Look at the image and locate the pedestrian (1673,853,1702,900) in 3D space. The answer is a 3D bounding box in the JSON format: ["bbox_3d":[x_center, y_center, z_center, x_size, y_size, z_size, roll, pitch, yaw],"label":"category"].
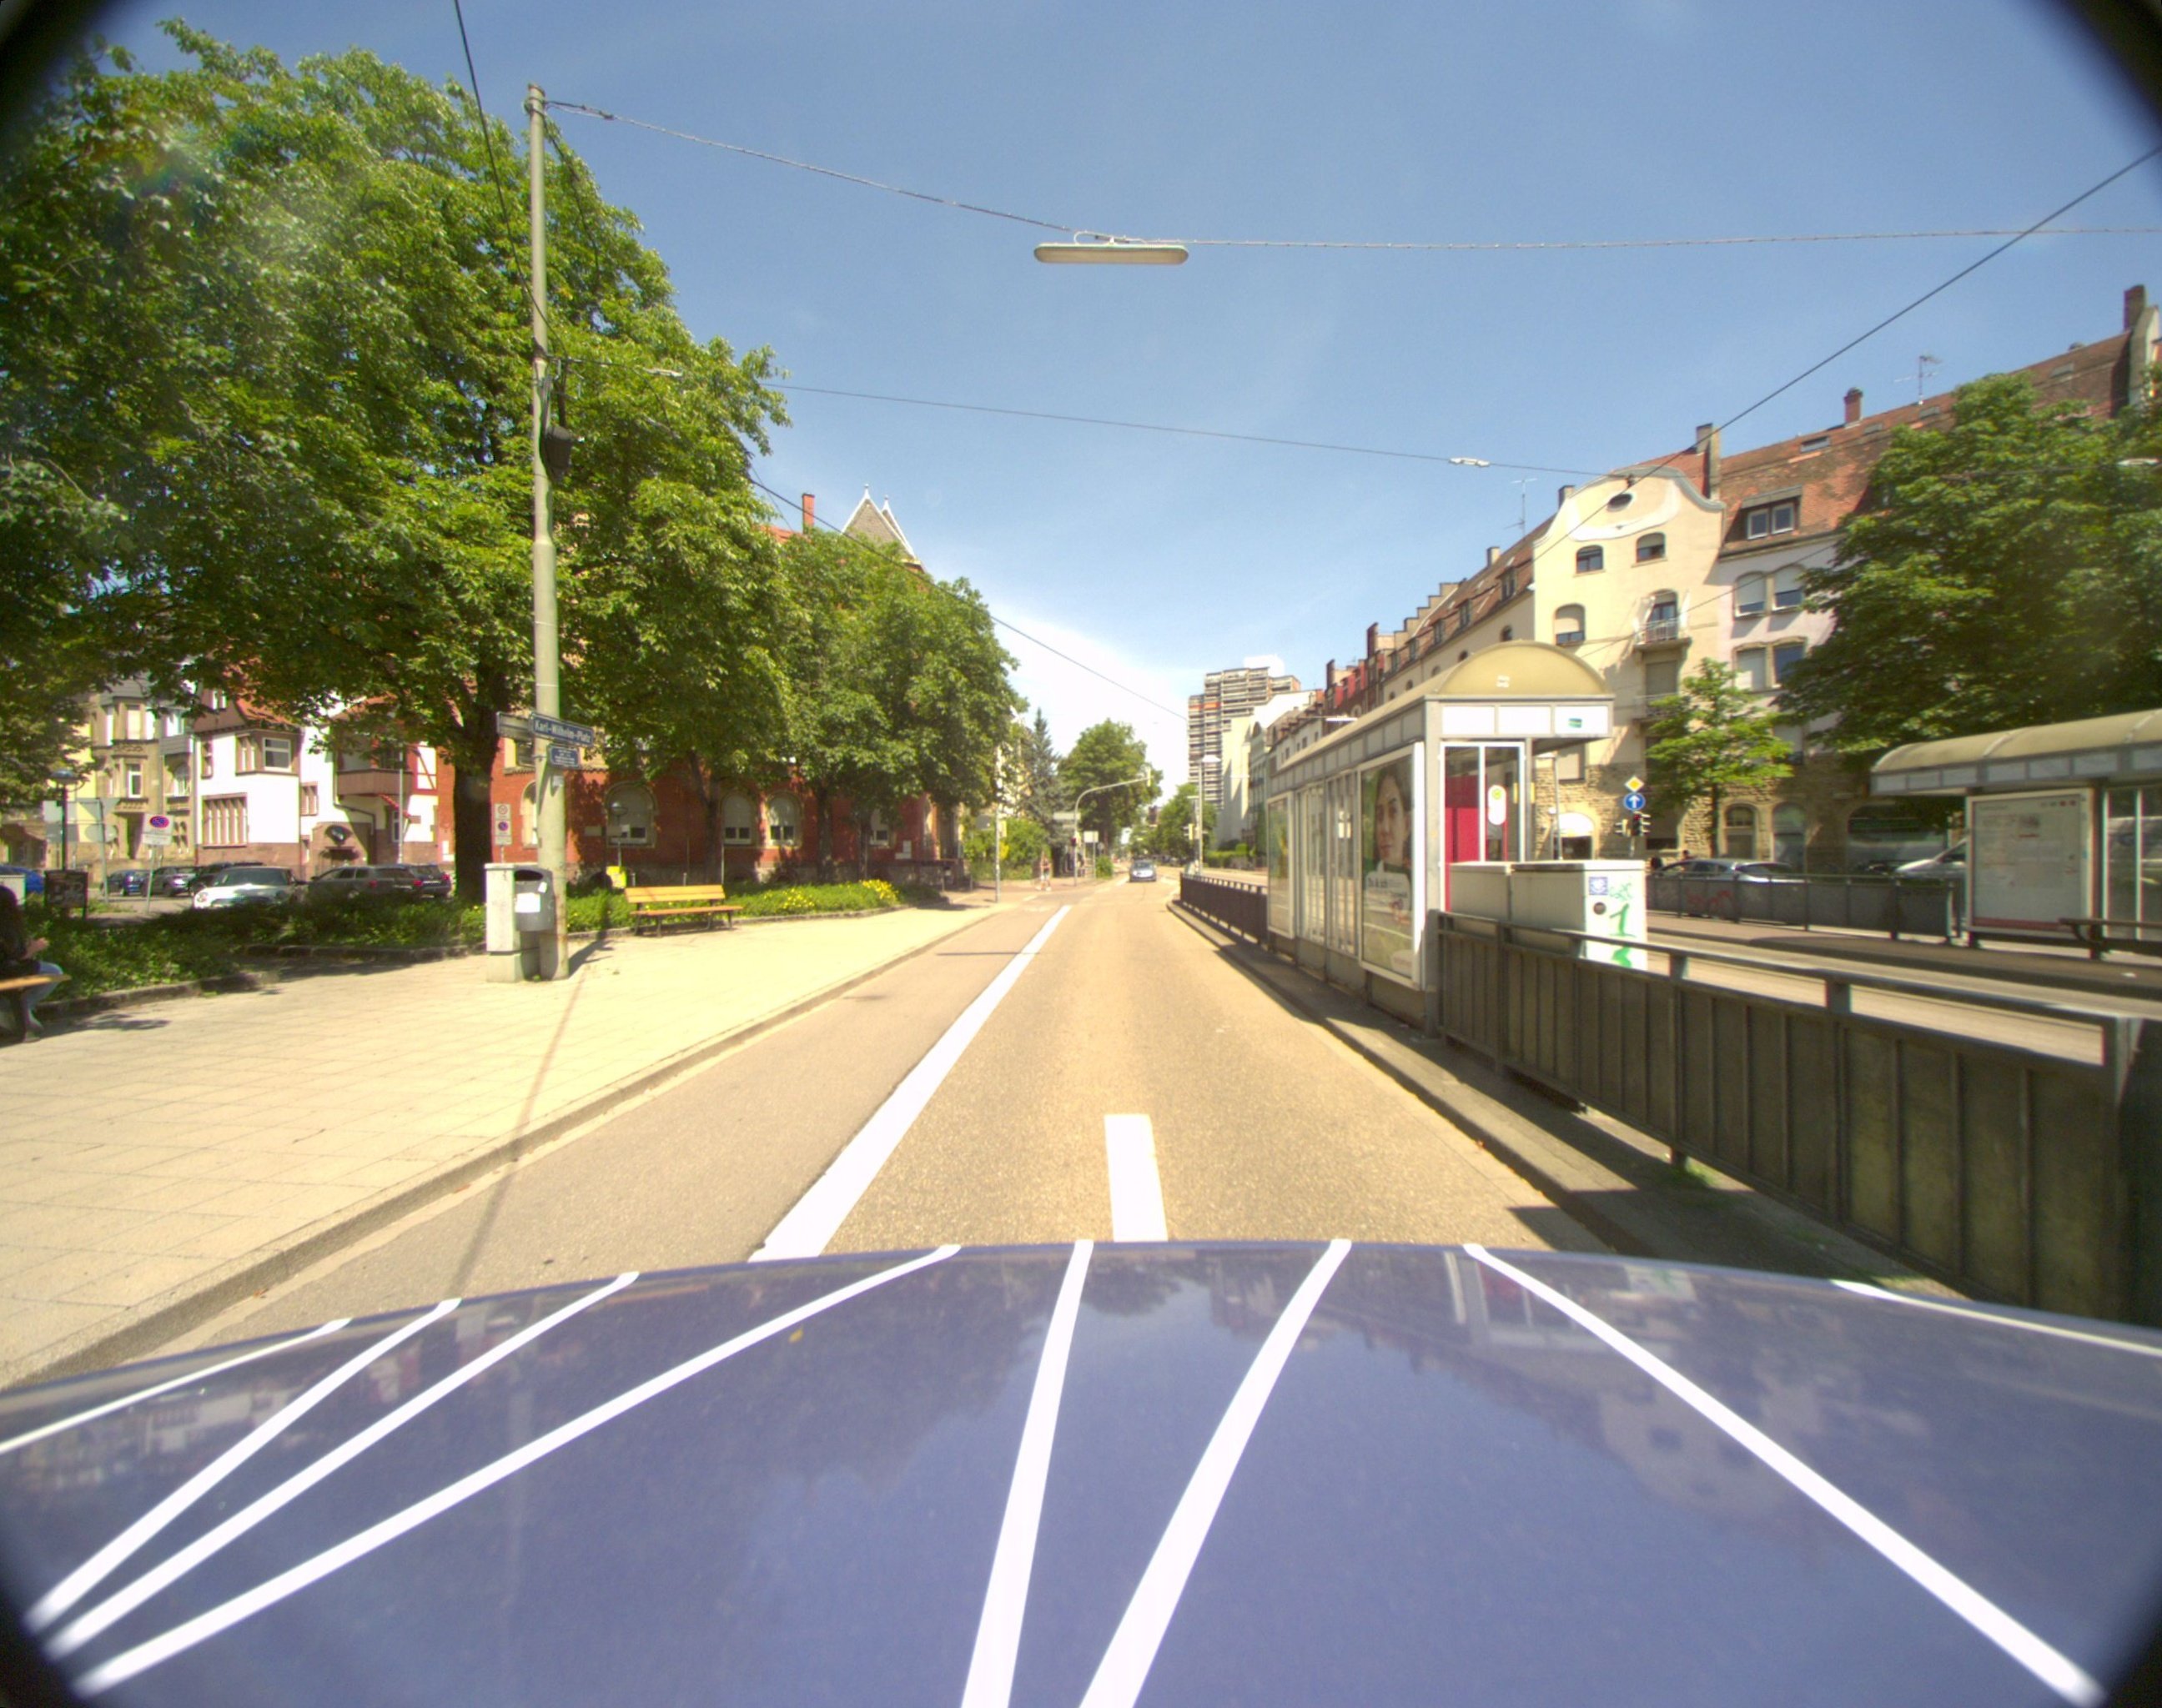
[{"bbox_3d":[20.289,0.750,25.422,0.594,1.542,0.474,0,0,-1],"label":"pedestrian"}]

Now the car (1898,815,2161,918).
[{"bbox_3d":[28.072,0.306,21.845,2.277,2.658,5.815,-3,1,-27],"label":"car"}]

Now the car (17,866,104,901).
[{"bbox_3d":[-59.177,1.705,44.075,4.299,1.862,1.941,-2,1,23],"label":"car"}]

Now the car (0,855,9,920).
[{"bbox_3d":[-37.658,1.197,23.790,1.934,2.178,4.315,-2,1,23],"label":"car"}]

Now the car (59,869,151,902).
[{"bbox_3d":[-53.023,1.724,41.265,4.299,1.608,1.941,-2,1,23],"label":"car"}]

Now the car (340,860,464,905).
[{"bbox_3d":[-27.042,1.130,30.283,4.299,1.608,1.941,-2,1,23],"label":"car"}]

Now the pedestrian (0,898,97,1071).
[{"bbox_3d":[-7.741,0.909,5.414,0.566,1.136,0.725,0,1,-16],"label":"pedestrian"}]

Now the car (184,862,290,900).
[{"bbox_3d":[-39.588,1.271,35.662,4.299,1.608,1.941,-2,1,23],"label":"car"}]

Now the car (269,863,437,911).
[{"bbox_3d":[-25.705,1.172,26.848,5.025,1.474,1.940,-2,1,16],"label":"car"}]

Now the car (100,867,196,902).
[{"bbox_3d":[-48.422,1.568,39.430,4.299,1.608,1.941,-2,1,23],"label":"car"}]

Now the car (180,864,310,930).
[{"bbox_3d":[-21.293,1.041,19.497,1.709,1.497,3.642,-1,-1,-39],"label":"car"}]

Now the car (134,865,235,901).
[{"bbox_3d":[-44.148,1.426,37.408,4.299,1.608,1.941,-2,1,23],"label":"car"}]

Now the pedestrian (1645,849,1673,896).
[{"bbox_3d":[20.129,0.647,26.466,0.594,1.637,0.474,0,0,1],"label":"pedestrian"}]

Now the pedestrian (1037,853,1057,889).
[{"bbox_3d":[-1.739,0.854,38.941,0.840,1.813,0.672,-1,1,-28],"label":"pedestrian"}]

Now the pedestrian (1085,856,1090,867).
[{"bbox_3d":[0.932,1.167,117.362,0.686,1.732,0.660,-2,1,3],"label":"pedestrian"}]

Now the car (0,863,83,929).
[{"bbox_3d":[-32.842,1.297,22.023,1.934,1.869,4.315,-2,1,23],"label":"car"}]

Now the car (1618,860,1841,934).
[{"bbox_3d":[14.839,0.907,17.723,1.812,1.386,3.999,-2,1,1],"label":"car"}]

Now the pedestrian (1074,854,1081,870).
[{"bbox_3d":[-0.409,0.848,80.359,0.702,1.645,0.665,0,0,1],"label":"pedestrian"}]

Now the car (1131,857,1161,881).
[{"bbox_3d":[4.358,0.984,50.946,1.895,1.372,4.001,-2,1,5],"label":"car"}]
